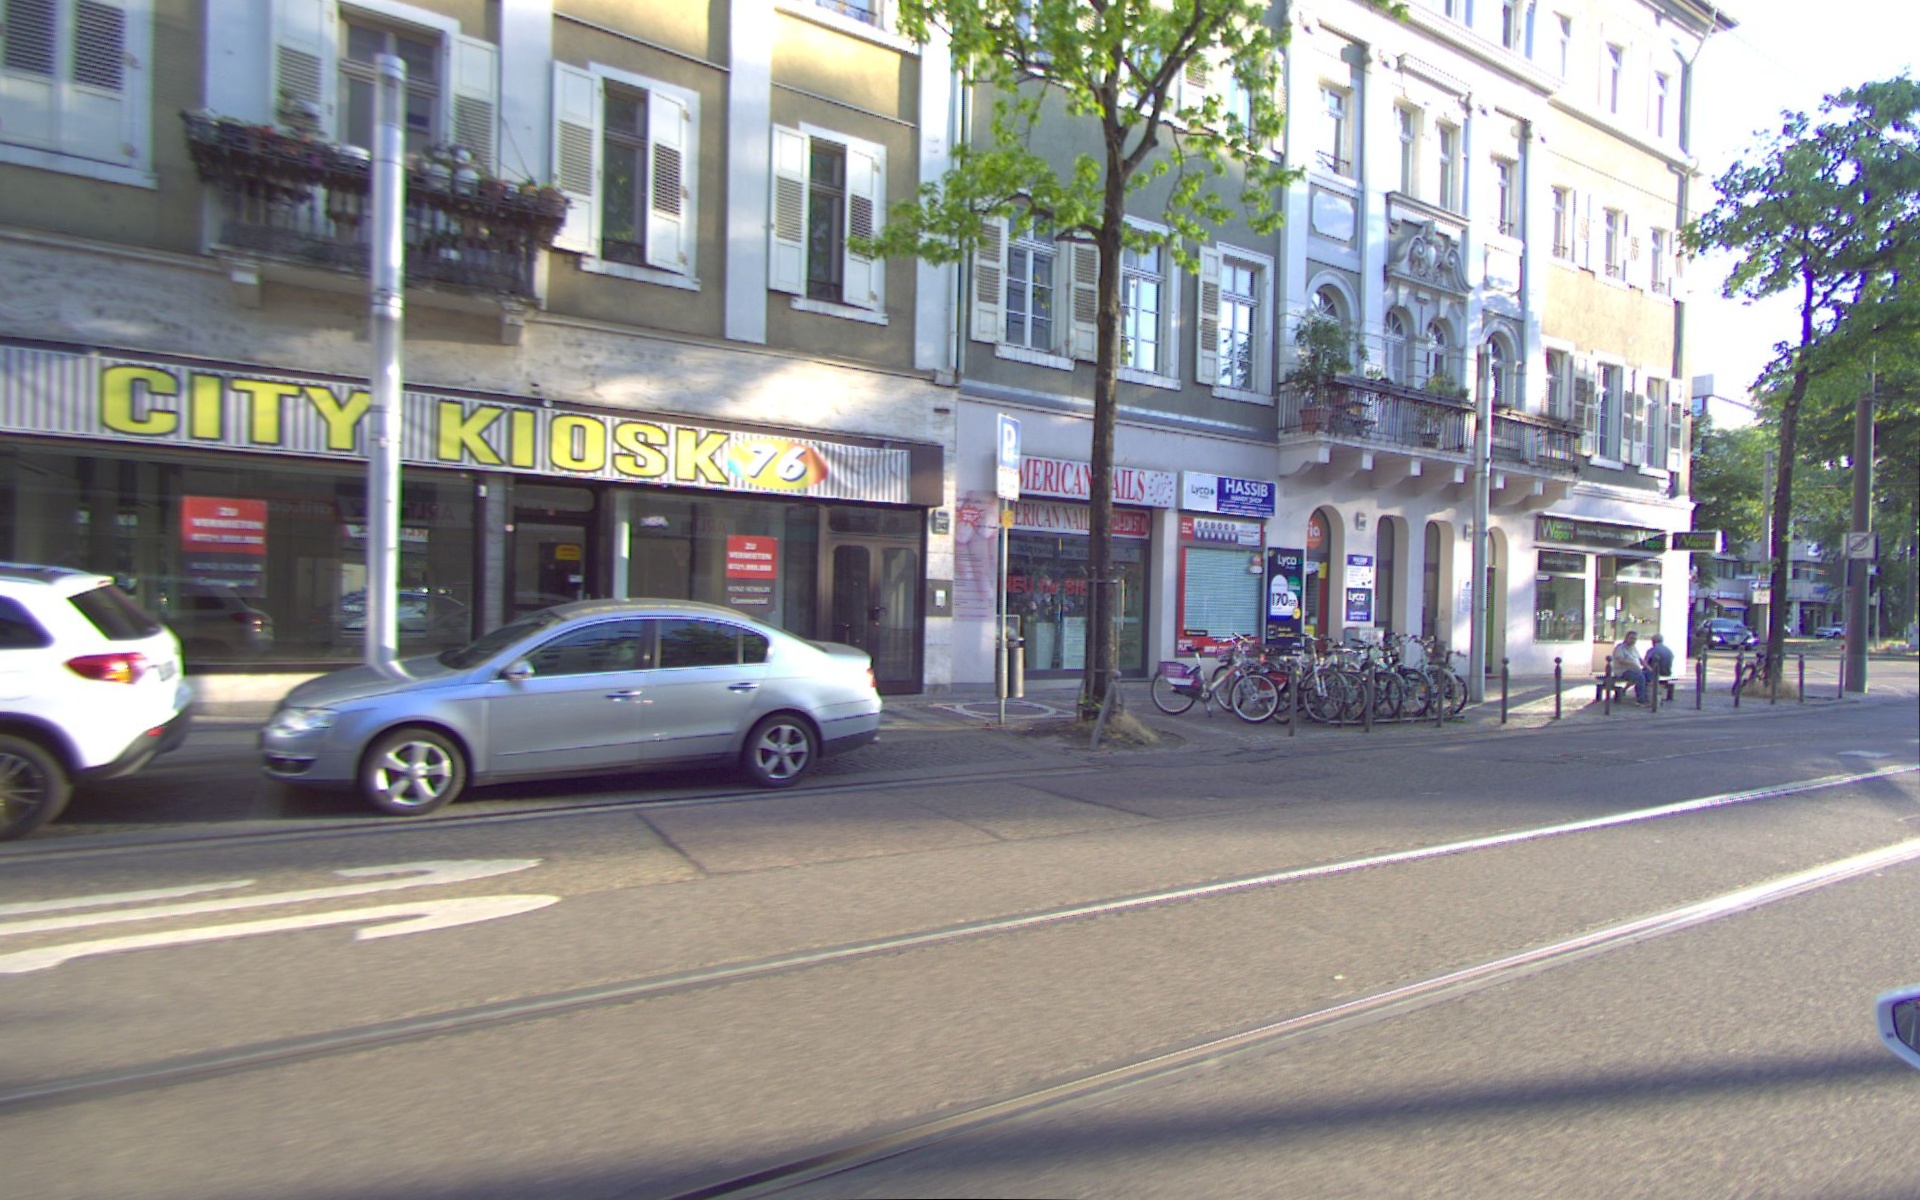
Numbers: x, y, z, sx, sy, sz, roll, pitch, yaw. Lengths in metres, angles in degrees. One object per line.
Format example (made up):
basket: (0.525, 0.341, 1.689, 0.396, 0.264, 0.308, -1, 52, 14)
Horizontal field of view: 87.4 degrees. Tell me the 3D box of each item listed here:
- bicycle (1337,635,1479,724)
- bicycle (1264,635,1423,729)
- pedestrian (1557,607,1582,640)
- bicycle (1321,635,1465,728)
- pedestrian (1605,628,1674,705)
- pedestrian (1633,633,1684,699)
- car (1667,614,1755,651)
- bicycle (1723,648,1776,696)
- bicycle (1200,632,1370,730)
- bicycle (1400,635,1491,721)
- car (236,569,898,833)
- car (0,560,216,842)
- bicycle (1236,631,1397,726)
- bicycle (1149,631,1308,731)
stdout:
bicycle: (6.630, 1.146, 14.987, 0.495, 1.119, 2.015, 2, 1, -27)
bicycle: (5.403, 1.120, 14.215, 1.996, 1.119, 0.499, 3, 1, 35)
pedestrian: (27.149, 1.051, 44.726, 0.730, 1.429, 0.772, 1, 0, 12)
bicycle: (6.215, 1.137, 14.547, 0.495, 1.119, 2.015, 2, 1, -27)
pedestrian: (12.120, 1.164, 17.924, 0.847, 1.308, 0.723, 1, 1, -33)
pedestrian: (13.297, 1.248, 19.127, 0.635, 1.210, 0.587, 1, 1, -33)
car: (40.079, 1.697, 53.758, 1.930, 1.699, 4.361, 2, 1, 9)
bicycle: (16.442, 1.486, 20.915, 1.492, 0.958, 0.335, 1, 0, -31)
bicycle: (4.365, 1.057, 13.592, 2.080, 1.119, 0.499, 3, 1, 35)
bicycle: (7.389, 1.158, 15.394, 0.491, 1.119, 2.031, 3, 1, 4)
car: (-3.025, 0.671, 8.337, 4.647, 1.601, 1.827, 1, 3, -31)
car: (-7.195, 0.558, 6.116, 4.068, 1.601, 1.827, 1, 3, -31)
bicycle: (4.901, 1.050, 13.901, 1.996, 1.119, 0.499, 3, 1, 35)
bicycle: (3.534, 1.032, 13.334, 1.919, 1.119, 0.566, 3, 1, 35)
